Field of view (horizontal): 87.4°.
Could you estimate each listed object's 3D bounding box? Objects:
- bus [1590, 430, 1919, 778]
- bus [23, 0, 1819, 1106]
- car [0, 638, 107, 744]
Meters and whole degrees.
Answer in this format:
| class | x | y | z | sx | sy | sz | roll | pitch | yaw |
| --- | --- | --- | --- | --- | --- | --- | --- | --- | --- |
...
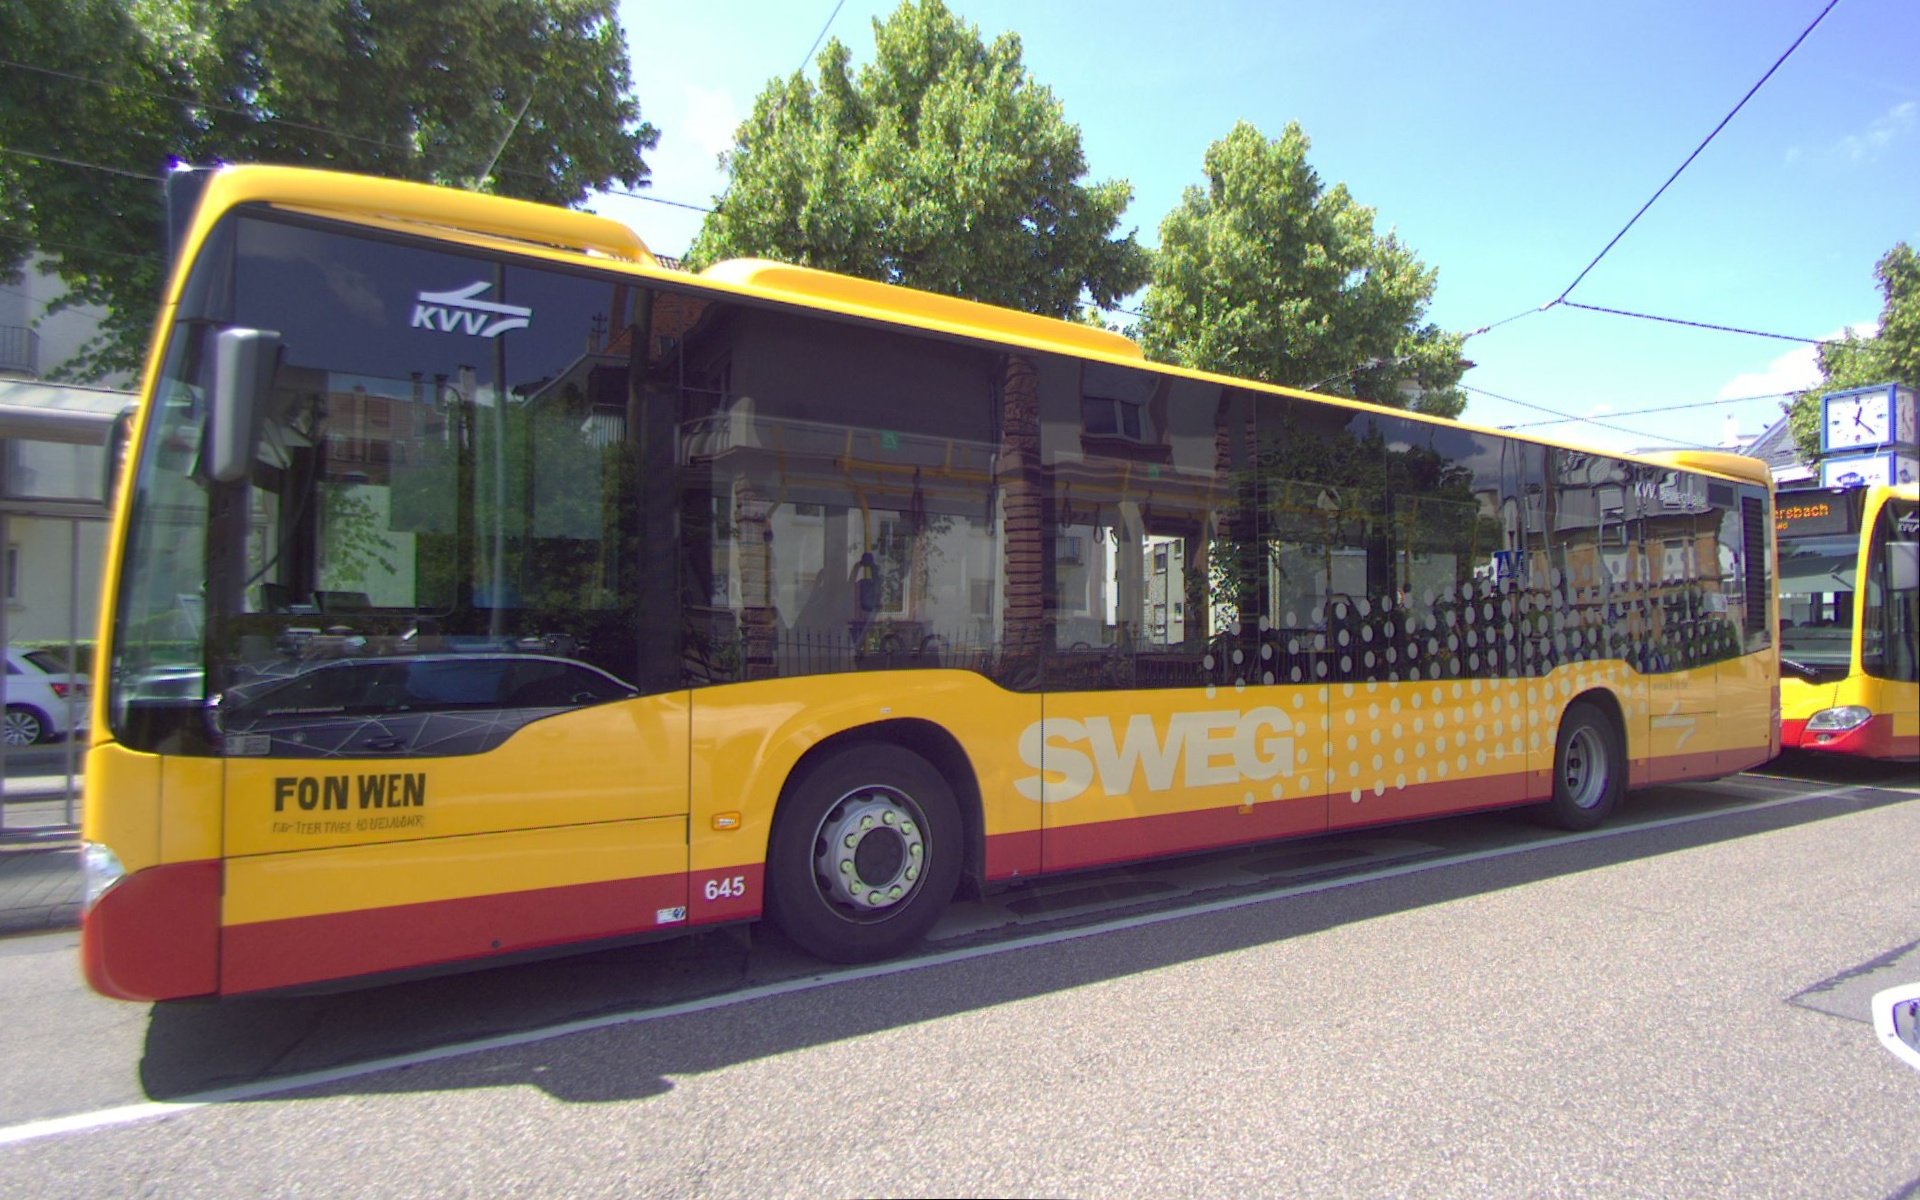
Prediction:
| class | x | y | z | sx | sy | sz | roll | pitch | yaw |
| --- | --- | --- | --- | --- | --- | --- | --- | --- | --- |
| bus | 13.719 | 0.124 | 12.701 | 12.115 | 3.251 | 2.777 | 1 | 0 | -19 |
| bus | 1.841 | -0.054 | 7.155 | 11.981 | 3.291 | 2.892 | 2 | 0 | -31 |
| car | -13.842 | 1.139 | 13.020 | 3.954 | 1.290 | 1.560 | 3 | -1 | -31 |
